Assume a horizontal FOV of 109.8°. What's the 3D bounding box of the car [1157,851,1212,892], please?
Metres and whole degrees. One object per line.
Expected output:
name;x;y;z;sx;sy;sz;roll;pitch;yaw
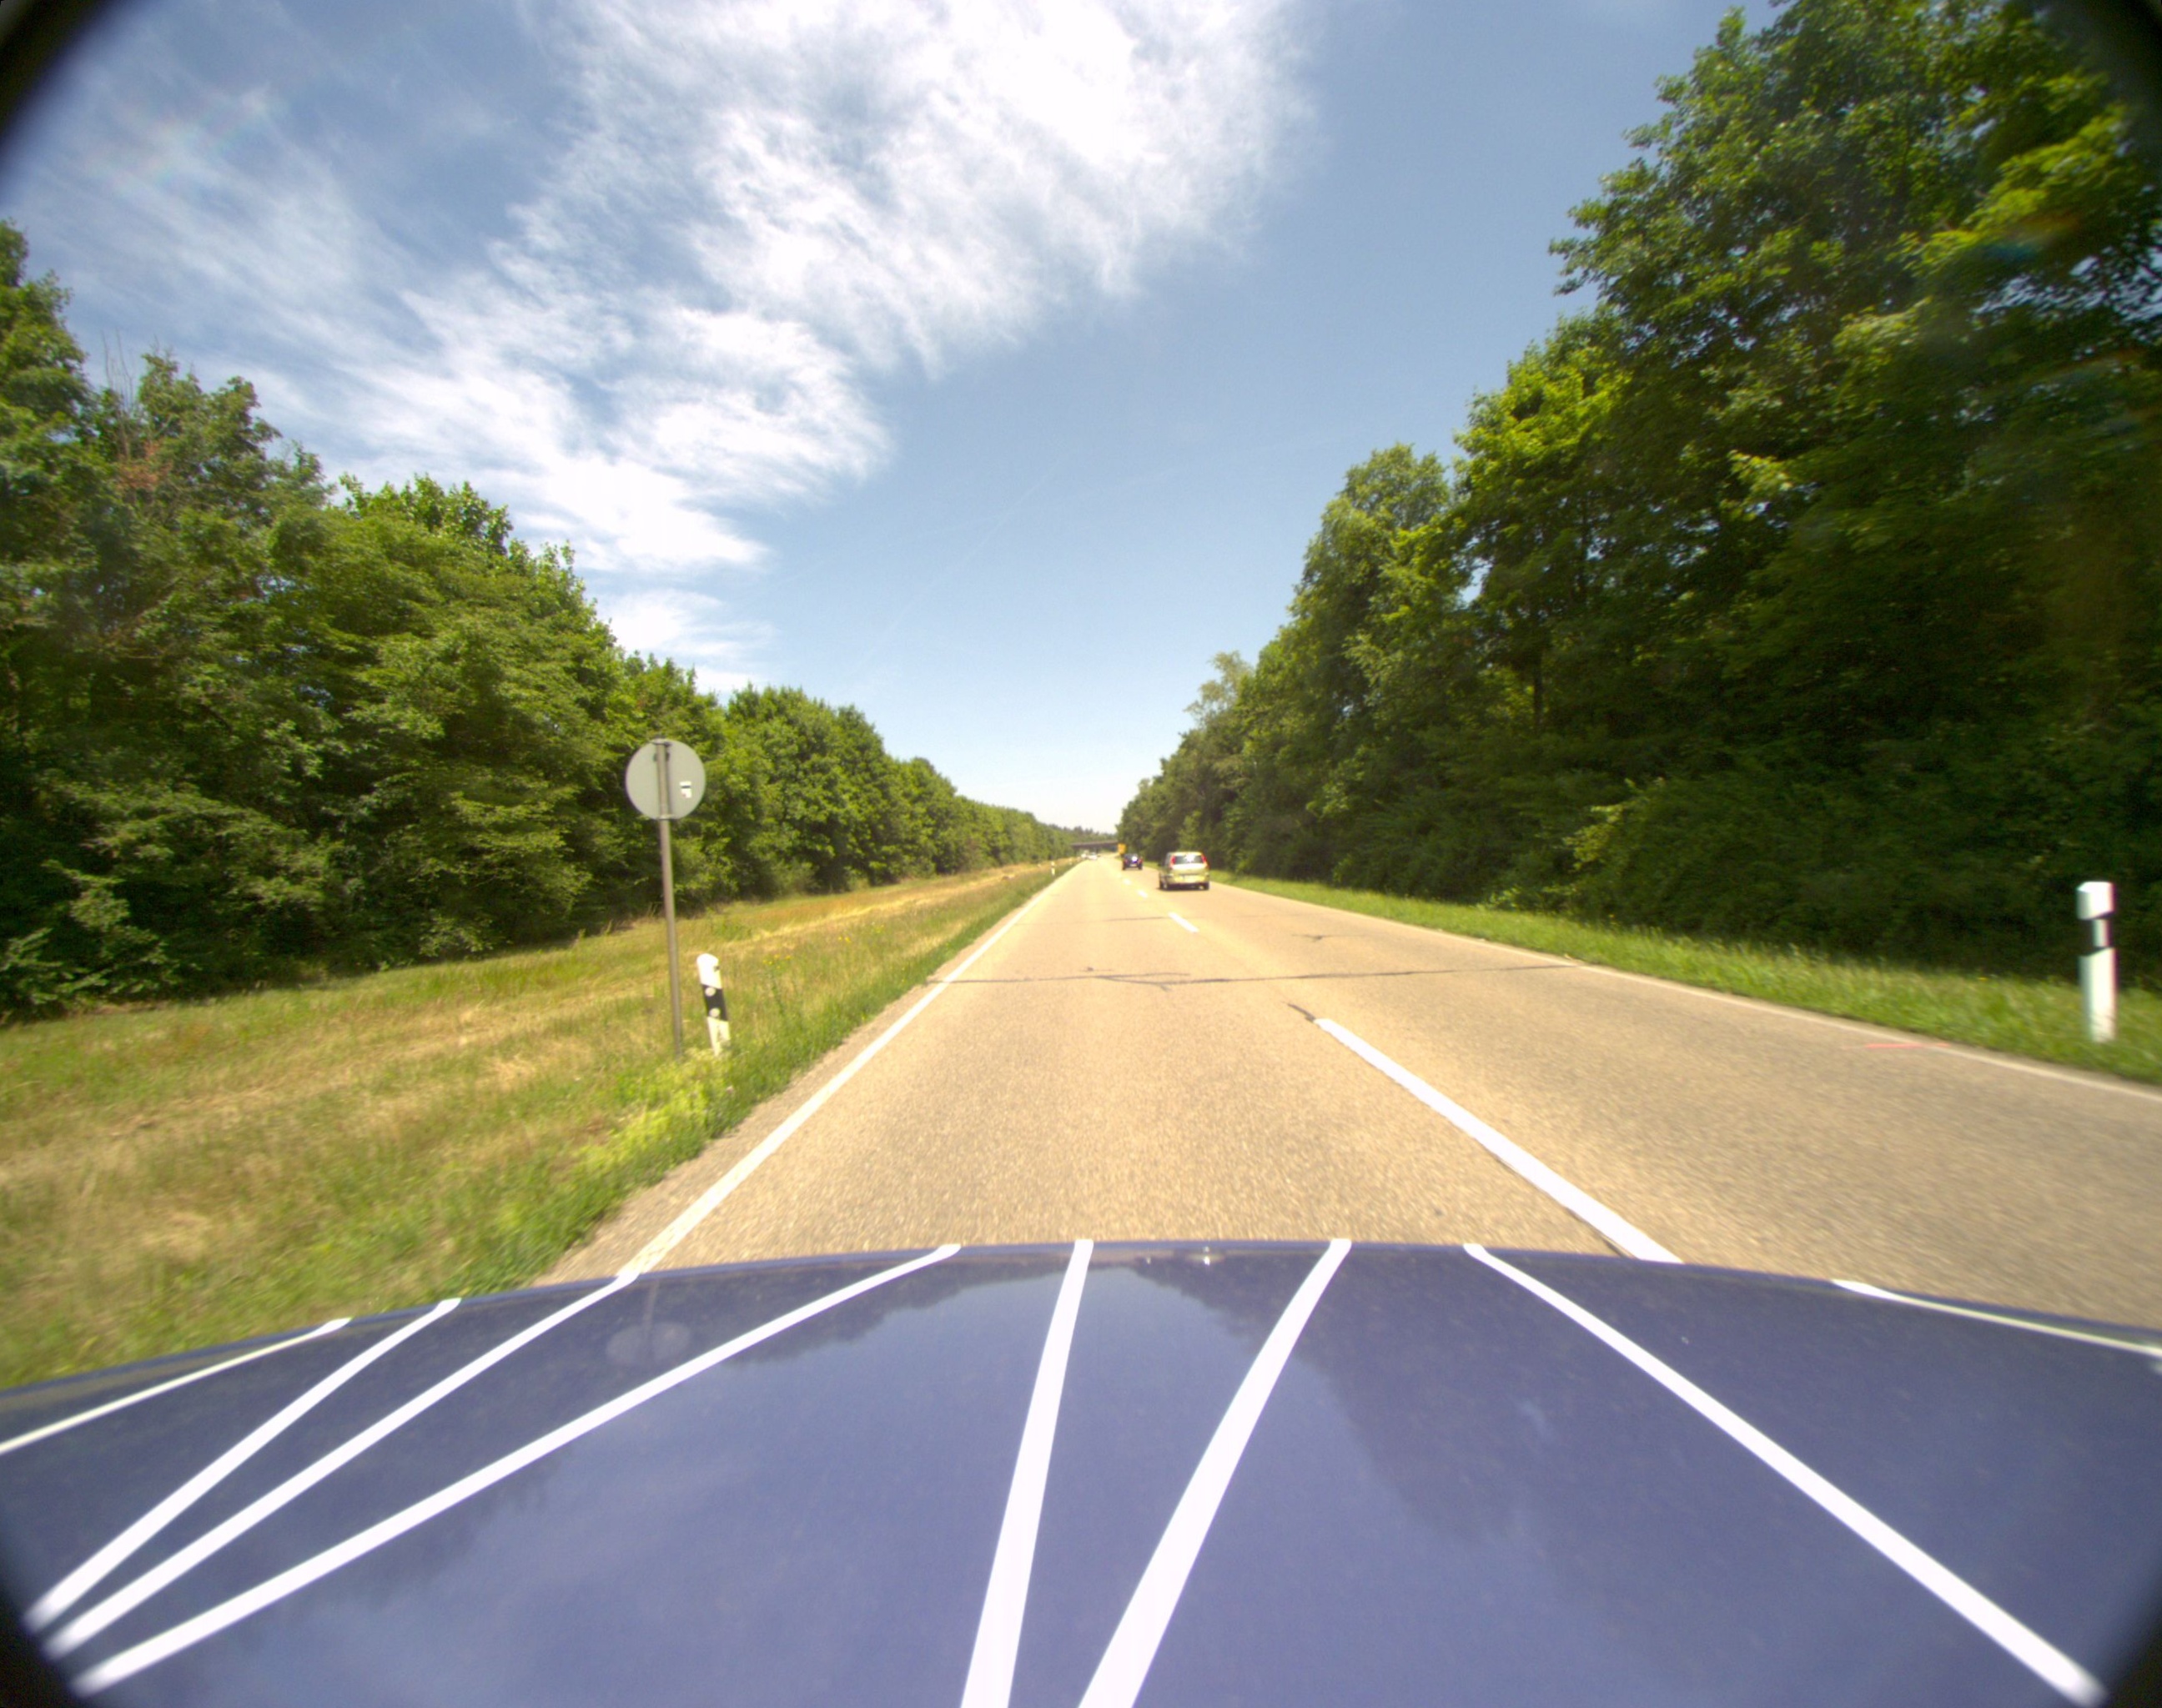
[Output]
car;4.061;0.647;30.310;1.671;1.487;3.683;-2;1;1

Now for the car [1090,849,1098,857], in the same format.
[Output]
car;3.265;-0.188;189.235;1.865;1.747;3.999;-4;0;0

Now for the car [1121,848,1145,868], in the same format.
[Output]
car;4.688;0.338;68.534;1.891;1.651;3.705;-2;0;1
